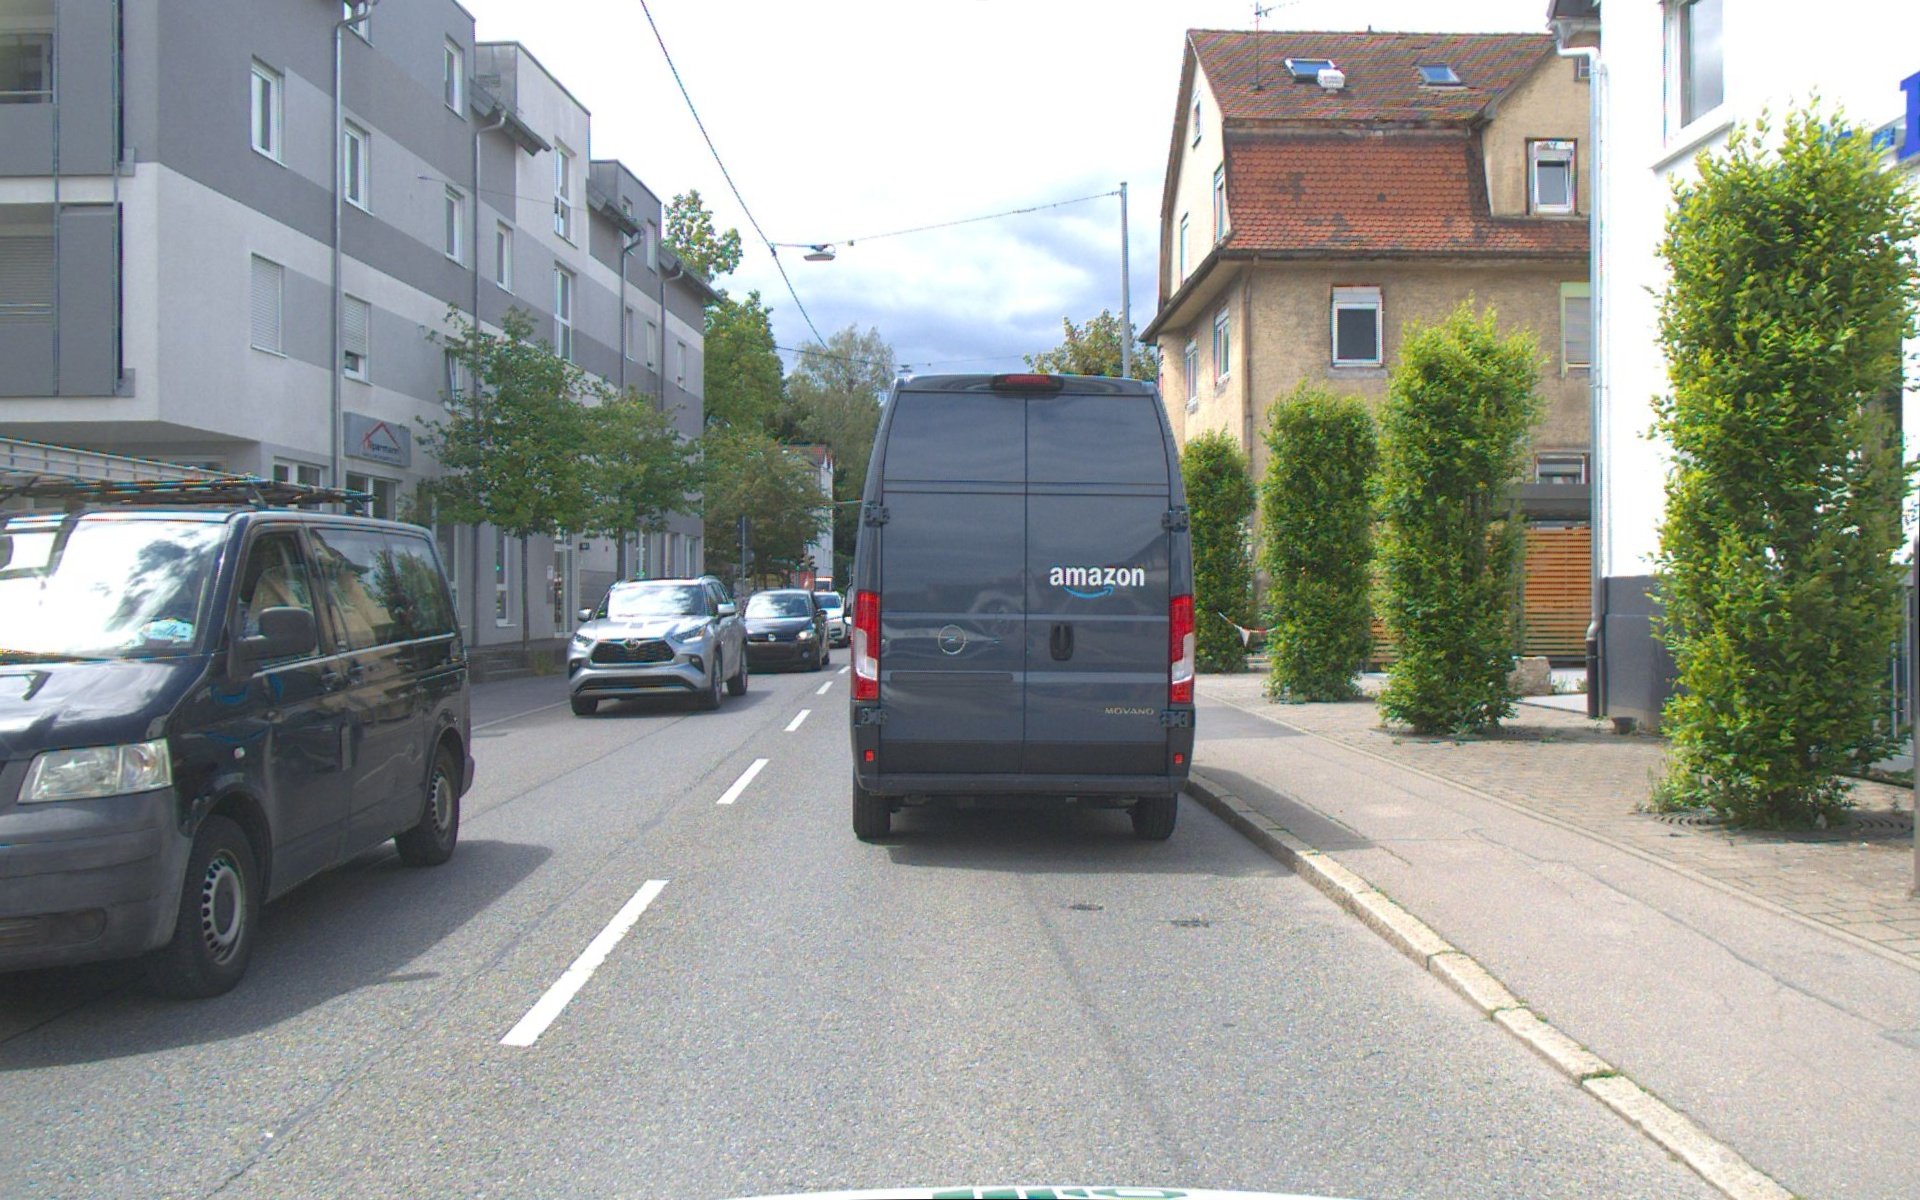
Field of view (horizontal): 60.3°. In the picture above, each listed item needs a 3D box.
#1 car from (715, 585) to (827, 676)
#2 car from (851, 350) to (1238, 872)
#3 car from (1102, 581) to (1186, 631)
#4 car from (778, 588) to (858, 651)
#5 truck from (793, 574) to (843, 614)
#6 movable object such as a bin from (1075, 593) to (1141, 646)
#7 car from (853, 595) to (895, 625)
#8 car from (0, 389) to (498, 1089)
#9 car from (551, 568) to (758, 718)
[{"bbox_3d":[-3.624,0.552,32.398,1.795,1.612,4.036,-2,0,-2],"label":"car"},{"bbox_3d":[0.327,0.044,12.109,2.105,2.819,6.246,0,0,-3],"label":"car"},{"bbox_3d":[6.630,0.181,59.357,1.717,1.543,4.077,-4,0,25],"label":"car"},{"bbox_3d":[-3.933,0.520,46.552,1.859,1.587,4.799,-3,0,-1],"label":"car"},{"bbox_3d":[-8.809,-0.330,103.112,2.178,2.421,6.328,0,0,4],"label":"truck"},{"bbox_3d":[3.678,0.479,41.127,1.170,1.288,1.197,0,0,-31],"label":"movable object such as a bin"},{"bbox_3d":[-4.363,0.490,84.329,1.835,1.449,4.115,0,0,1],"label":"car"},{"bbox_3d":[-3.766,0.440,7.588,2.069,2.189,4.880,-1,0,-3],"label":"car"},{"bbox_3d":[-4.076,0.530,22.895,1.946,1.767,4.795,-3,0,-1],"label":"car"}]
